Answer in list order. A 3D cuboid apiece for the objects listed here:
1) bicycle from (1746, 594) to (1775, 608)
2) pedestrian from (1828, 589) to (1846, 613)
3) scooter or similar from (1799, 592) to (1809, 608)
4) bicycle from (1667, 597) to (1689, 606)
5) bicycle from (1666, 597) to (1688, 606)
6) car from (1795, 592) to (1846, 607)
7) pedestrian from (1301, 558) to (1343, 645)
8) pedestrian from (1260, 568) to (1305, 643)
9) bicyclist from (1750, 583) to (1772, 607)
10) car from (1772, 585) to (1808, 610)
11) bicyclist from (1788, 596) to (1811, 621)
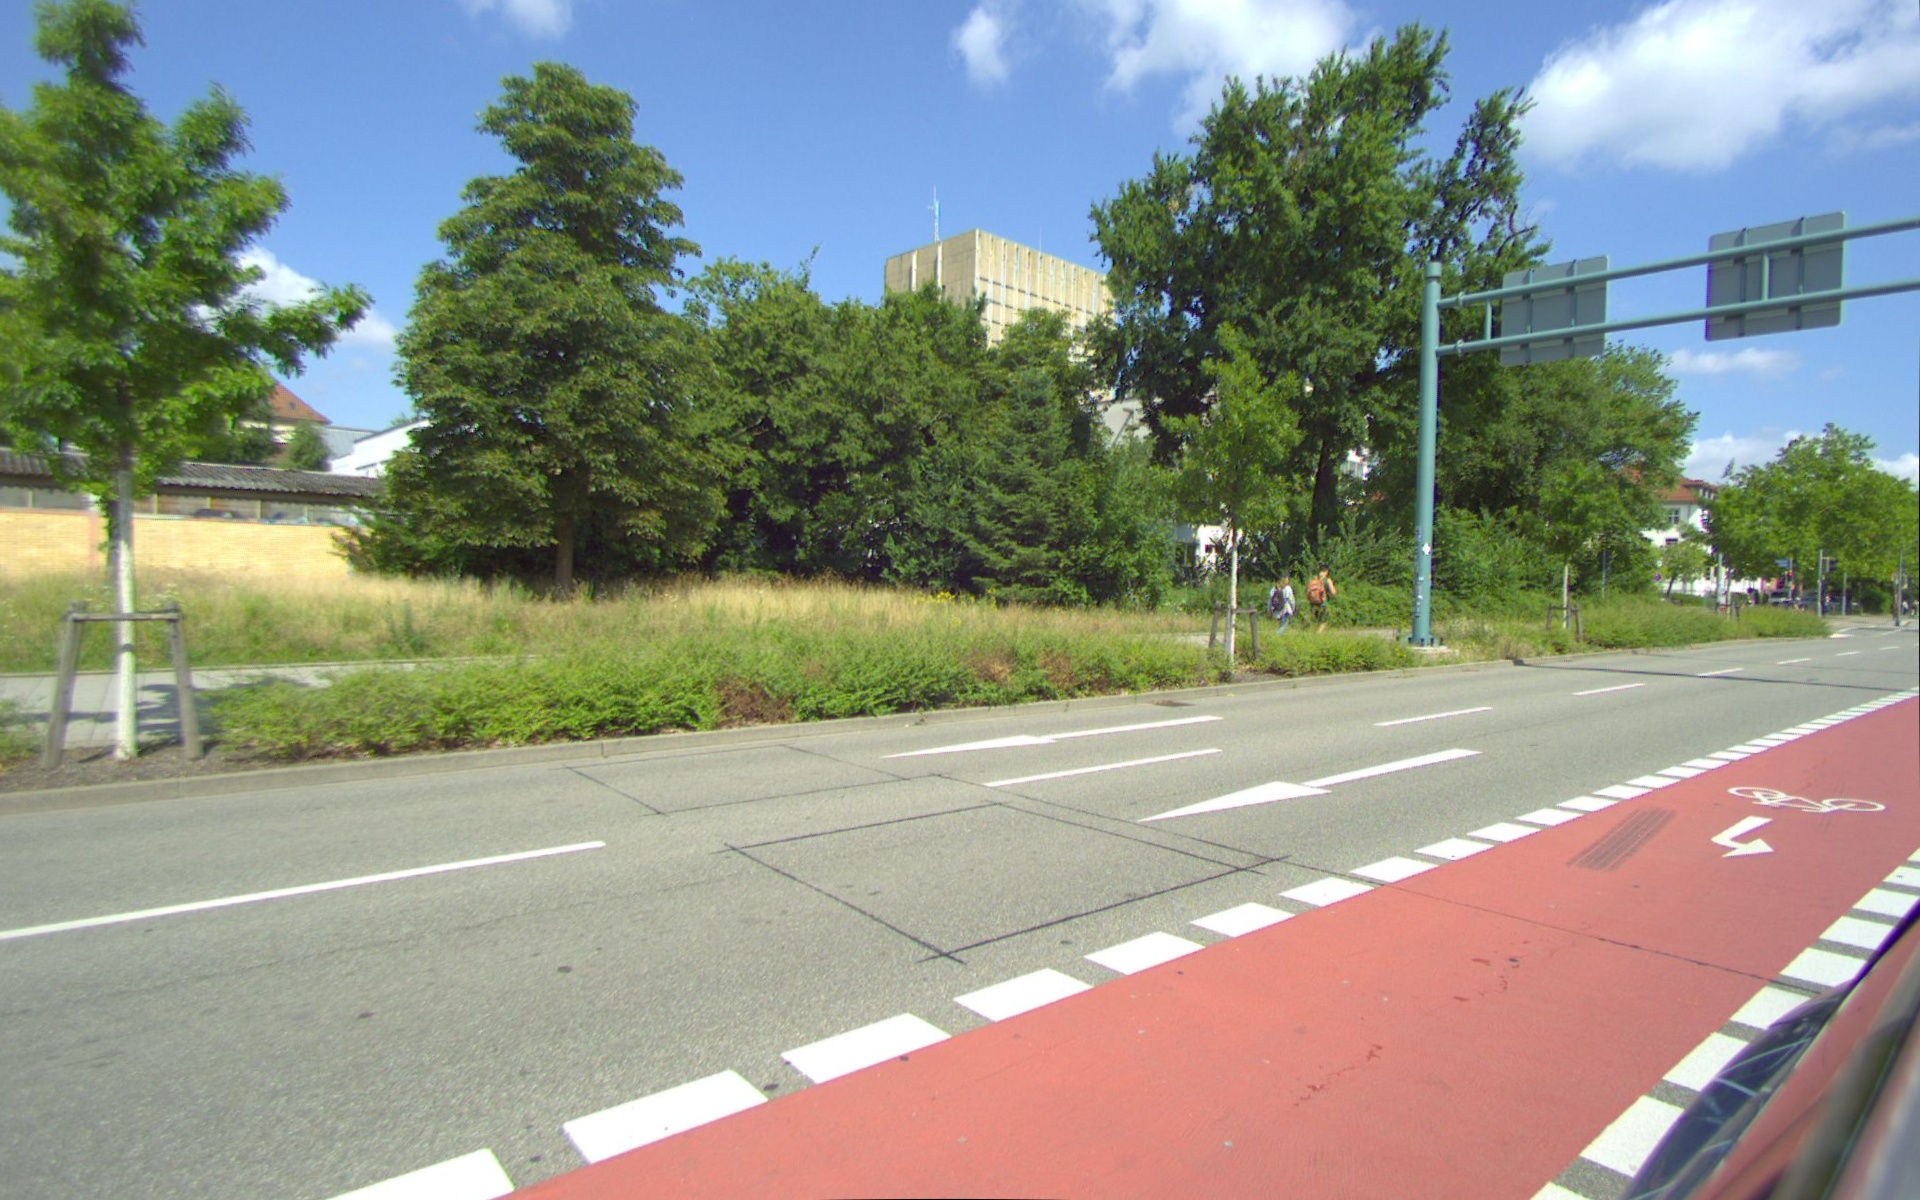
[{"bbox_3d":[50.653,0.034,64.040,0.608,0.843,1.515,1,1,0],"label":"bicycle"},{"bbox_3d":[60.285,0.062,69.582,0.626,1.670,0.743,1,1,-27],"label":"pedestrian"},{"bbox_3d":[62.614,-0.015,75.108,1.147,1.143,0.347,1,1,-41],"label":"scooter or similar"},{"bbox_3d":[67.617,0.163,95.318,1.667,0.800,0.617,3,1,42],"label":"bicycle"},{"bbox_3d":[67.175,0.167,94.816,1.667,0.800,0.617,3,1,42],"label":"bicycle"},{"bbox_3d":[88.928,-0.047,104.670,3.983,1.442,1.732,3,2,40],"label":"car"},{"bbox_3d":[7.696,0.022,21.520,0.627,1.824,0.568,1,1,-39],"label":"pedestrian"},{"bbox_3d":[7.073,0.108,22.191,0.695,1.600,0.624,1,1,-39],"label":"pedestrian"},{"bbox_3d":[50.667,-0.318,64.029,0.601,1.526,0.919,1,1,1],"label":"bicyclist"},{"bbox_3d":[72.423,-0.220,88.301,1.994,2.039,4.824,2,1,44],"label":"car"},{"bbox_3d":[47.145,0.473,56.846,0.927,1.366,0.439,1,1,39],"label":"bicyclist"}]
